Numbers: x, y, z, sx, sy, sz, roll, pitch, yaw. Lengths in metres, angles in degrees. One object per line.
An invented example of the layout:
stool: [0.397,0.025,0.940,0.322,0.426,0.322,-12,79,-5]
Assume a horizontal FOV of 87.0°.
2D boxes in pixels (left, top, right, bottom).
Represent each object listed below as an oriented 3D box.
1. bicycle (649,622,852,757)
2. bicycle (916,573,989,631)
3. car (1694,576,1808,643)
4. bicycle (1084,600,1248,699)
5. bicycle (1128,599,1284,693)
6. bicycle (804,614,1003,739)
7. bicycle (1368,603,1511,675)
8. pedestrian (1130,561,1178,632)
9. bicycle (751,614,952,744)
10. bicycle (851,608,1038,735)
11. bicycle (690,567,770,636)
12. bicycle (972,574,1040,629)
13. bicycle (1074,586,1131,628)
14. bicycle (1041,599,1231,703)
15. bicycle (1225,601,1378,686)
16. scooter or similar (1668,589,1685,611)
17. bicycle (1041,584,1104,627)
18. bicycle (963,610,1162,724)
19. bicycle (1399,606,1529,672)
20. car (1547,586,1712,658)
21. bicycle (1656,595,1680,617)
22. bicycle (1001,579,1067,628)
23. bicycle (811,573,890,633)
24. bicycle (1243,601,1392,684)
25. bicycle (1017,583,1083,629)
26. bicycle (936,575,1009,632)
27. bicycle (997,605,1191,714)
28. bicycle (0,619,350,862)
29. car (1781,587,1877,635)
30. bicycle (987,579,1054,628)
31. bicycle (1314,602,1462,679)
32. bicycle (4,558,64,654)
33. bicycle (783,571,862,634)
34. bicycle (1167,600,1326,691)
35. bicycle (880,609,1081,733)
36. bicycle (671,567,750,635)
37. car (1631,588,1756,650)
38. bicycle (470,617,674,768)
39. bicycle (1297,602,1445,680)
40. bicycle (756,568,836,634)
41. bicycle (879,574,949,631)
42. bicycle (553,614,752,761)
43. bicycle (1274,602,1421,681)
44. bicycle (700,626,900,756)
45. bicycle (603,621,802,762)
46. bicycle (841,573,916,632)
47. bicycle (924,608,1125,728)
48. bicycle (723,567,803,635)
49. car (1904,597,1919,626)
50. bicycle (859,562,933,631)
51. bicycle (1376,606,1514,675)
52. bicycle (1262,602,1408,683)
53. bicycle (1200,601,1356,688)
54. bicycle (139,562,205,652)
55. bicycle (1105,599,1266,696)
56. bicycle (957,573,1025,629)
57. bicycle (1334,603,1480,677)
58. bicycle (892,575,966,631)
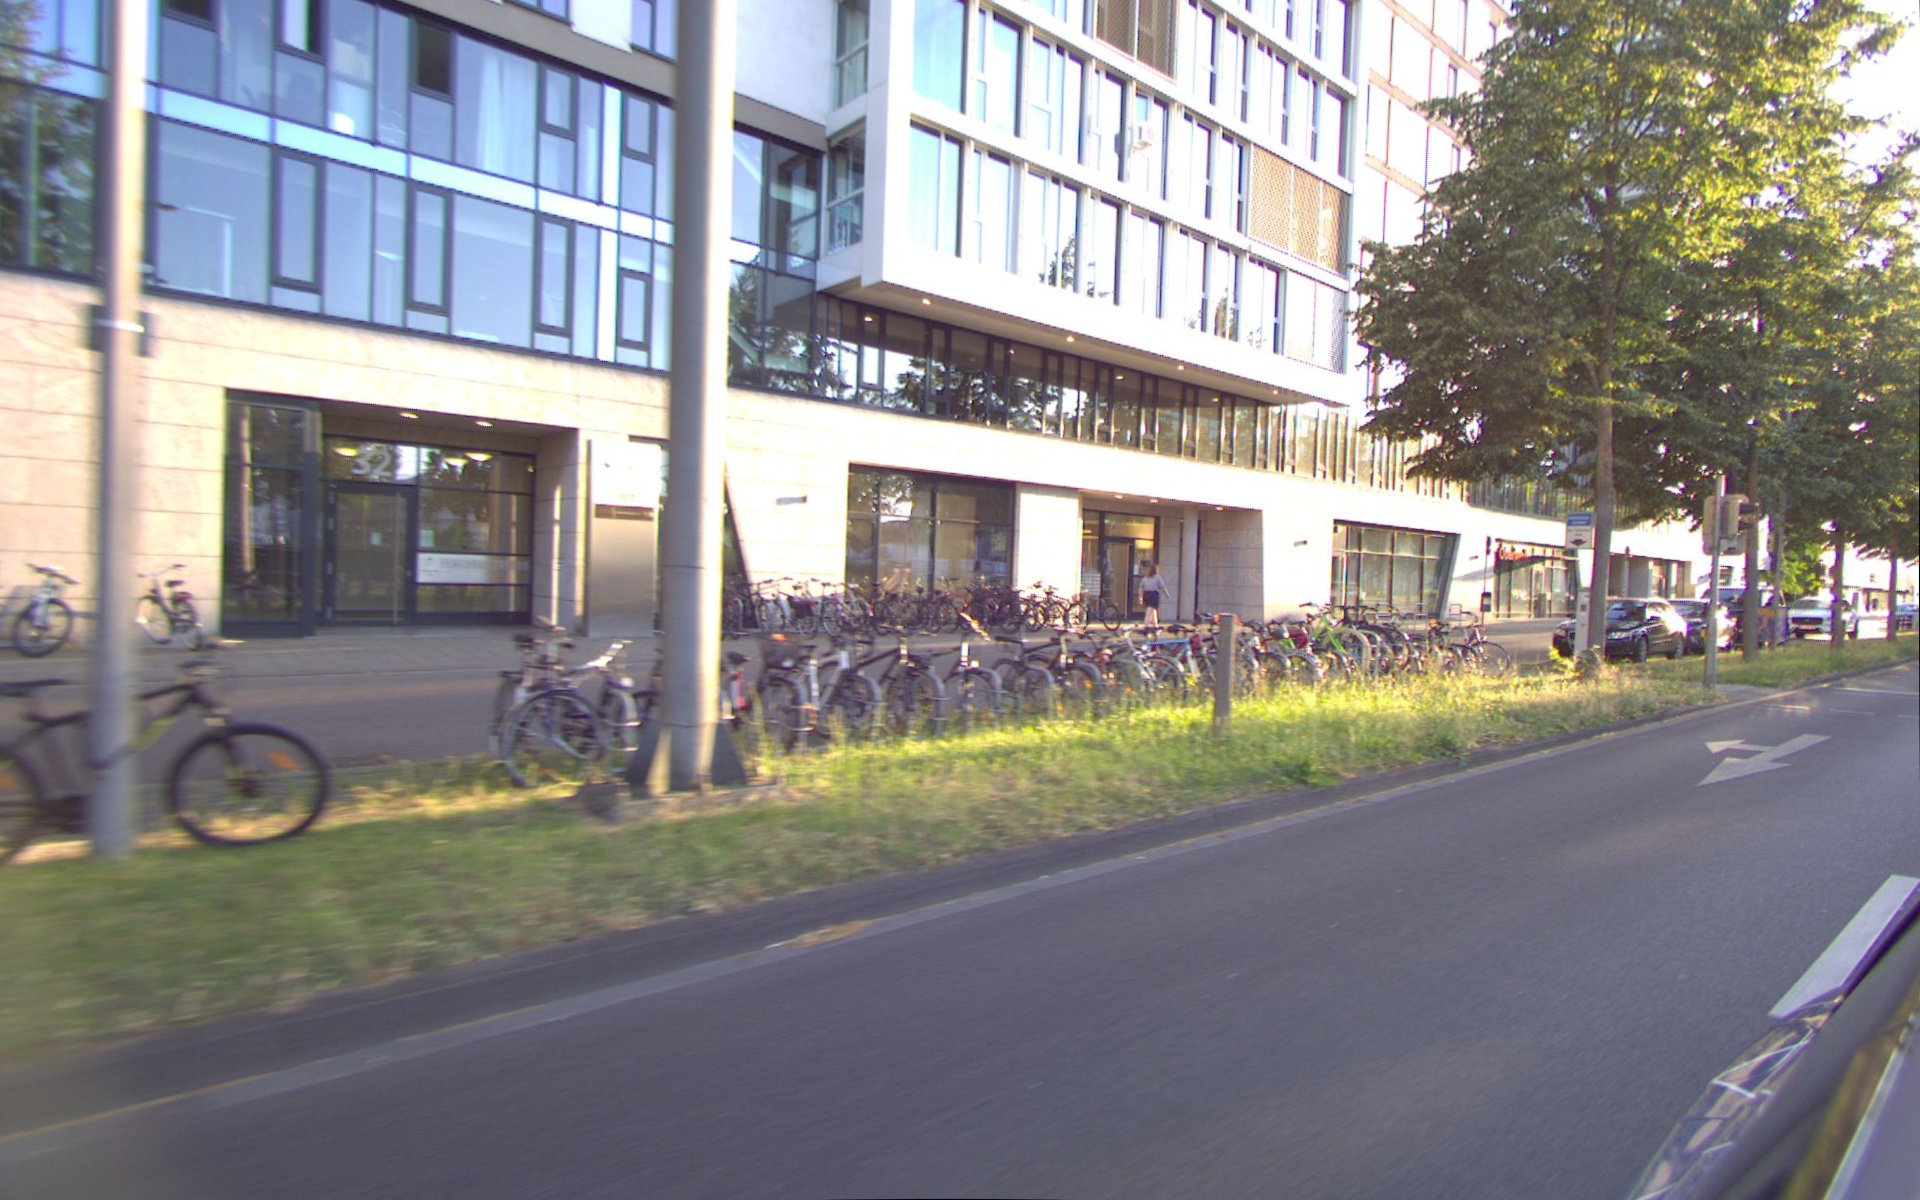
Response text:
bicycle: [-1.735,0.664,8.101,2.141,0.952,0.445,-2,-2,43]
bicycle: [-0.182,0.028,22.308,0.495,1.191,1.833,1,2,-42]
car: [24.500,0.247,31.282,4.585,1.875,1.997,0,2,-42]
bicycle: [2.332,0.552,11.689,1.941,1.067,0.398,-2,-2,44]
bicycle: [2.965,0.548,12.391,0.397,1.067,1.943,1,-2,-42]
bicycle: [-0.566,0.641,9.064,2.142,0.999,0.436,-2,-2,44]
bicycle: [7.446,0.604,15.761,1.935,1.067,0.538,-2,-2,36]
pedestrian: [4.648,-0.090,24.257,0.937,1.669,0.644,1,1,-41]
bicycle: [-0.984,0.629,8.644,2.142,0.986,0.436,-2,-2,44]
bicycle: [-0.208,0.628,9.362,2.142,1.067,0.295,-2,-2,44]
bicycle: [-4.223,-0.002,18.463,0.495,1.156,1.985,1,2,-42]
bicycle: [1.041,0.007,23.399,0.437,1.191,1.835,1,2,-39]
bicycle: [3.638,0.166,25.861,0.396,0.999,1.579,1,2,-39]
bicycle: [1.911,0.548,11.317,2.142,1.067,0.562,-2,-2,44]
bicycle: [4.532,0.565,13.558,1.941,1.067,0.408,-2,-2,43]
scooter or similar: [41.676,0.000,58.844,1.206,1.226,0.473,1,2,-39]
bicycle: [2.757,0.122,24.877,0.396,0.964,1.748,1,2,-39]
bicycle: [0.994,0.649,10.373,2.142,1.067,0.562,-2,-2,44]
bicycle: [8.686,0.663,17.515,0.535,1.067,1.945,1,-2,-40]
car: [15.456,0.451,23.279,4.563,1.428,1.873,0,2,-39]
bicycle: [34.823,0.273,49.758,1.774,1.052,0.471,0,2,-40]
bicycle: [1.748,0.067,24.086,0.396,1.070,1.835,1,2,-39]
bicycle: [-2.231,0.036,20.398,0.495,1.113,1.985,1,2,-42]
bicycle: [4.871,0.571,13.917,1.941,1.067,0.342,-2,-2,43]
bicycle: [2.140,0.131,24.331,0.396,0.999,1.835,1,2,-39]
bicycle: [0.258,0.059,22.667,0.495,1.191,1.833,1,2,-42]
bicycle: [1.381,0.607,10.846,2.142,1.067,0.553,-2,-2,44]
bicycle: [-3.851,0.602,4.601,1.813,0.992,0.319,0,2,-39]
car: [33.769,0.398,39.277,4.791,1.662,1.998,0,2,-40]
bicycle: [1.401,0.067,23.756,0.437,1.060,1.835,1,2,-39]
bicycle: [6.299,0.590,14.975,1.941,1.067,0.536,-2,-2,43]
bicycle: [-11.642,0.042,12.704,0.500,1.118,1.786,0,2,-44]
bicycle: [-2.733,0.031,19.970,0.495,1.155,1.985,1,2,-42]
bicycle: [3.555,0.559,12.720,1.941,1.067,0.408,-2,-2,43]
bicycle: [0.138,0.637,9.646,2.142,1.067,0.516,-2,-2,44]
bicycle: [-4.565,-0.009,18.443,0.495,1.156,1.985,1,2,-42]
car: [19.833,0.459,27.285,4.585,1.489,1.812,0,2,-42]
bicycle: [-2.871,0.613,7.346,2.142,0.952,0.537,-2,-2,44]
bicycle: [5.905,0.583,14.635,1.941,1.067,0.402,-2,-2,43]
bicycle: [-3.202,-0.004,19.624,0.495,1.197,1.985,1,2,-42]
bicycle: [-1.004,0.030,21.595,0.366,1.138,1.833,1,2,-42]
bicycle: [-2.346,0.597,7.520,2.142,0.952,0.436,-2,-2,44]
bicycle: [5.488,0.585,14.443,1.941,1.067,0.402,-2,-2,43]
bicycle: [-1.382,0.702,8.379,2.142,0.952,0.436,-2,-2,44]
bicycle: [-2.049,0.650,7.814,2.142,0.952,0.436,-2,-2,44]
bicycle: [-1.703,0.036,20.817,0.495,1.135,1.833,1,2,-42]
bicycle: [0.579,0.631,9.978,2.142,1.067,0.516,-2,-2,44]
bicycle: [-3.715,-0.006,18.973,0.495,1.182,1.985,1,2,-42]
car: [52.207,0.619,54.454,3.693,1.534,1.712,0,0,-41]
bicycle: [-1.358,-0.100,21.252,0.495,1.373,1.833,1,2,-42]
bicycle: [7.813,0.648,16.352,1.935,1.067,0.538,-2,-2,36]
bicycle: [5.212,0.579,14.172,1.941,1.067,0.309,-2,-2,43]
bicycle: [4.102,0.569,13.182,1.941,1.067,0.408,-2,-2,43]
bicycle: [-10.551,0.062,13.530,0.500,1.118,1.786,0,2,-44]
bicycle: [2.638,0.546,12.033,1.941,1.067,0.398,-2,-2,44]
bicycle: [0.688,0.001,23.043,0.437,1.191,1.835,1,2,-39]
bicycle: [6.766,0.593,15.393,1.938,1.067,0.537,-2,-2,40]
bicycle: [-0.692,0.051,21.968,0.495,1.126,1.833,1,2,-42]
